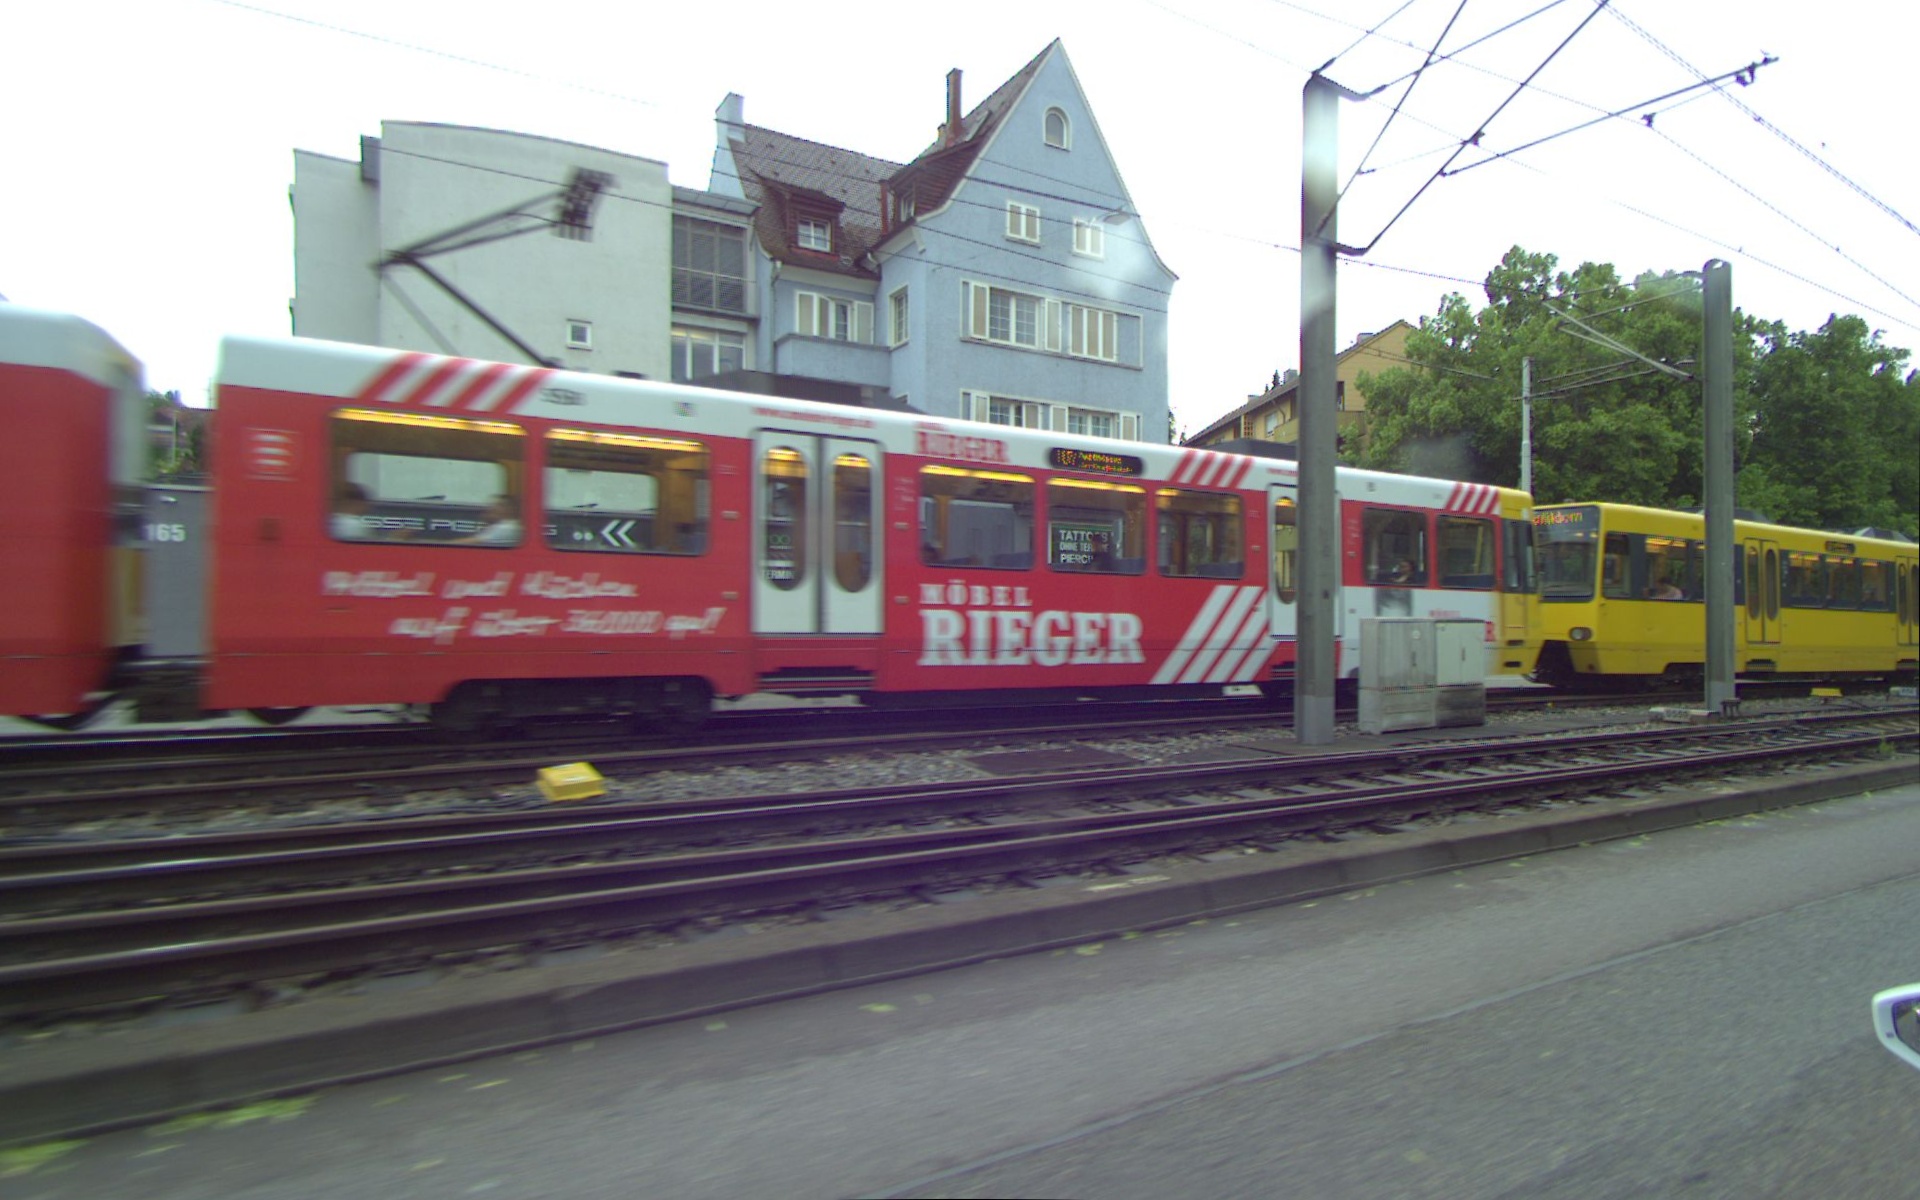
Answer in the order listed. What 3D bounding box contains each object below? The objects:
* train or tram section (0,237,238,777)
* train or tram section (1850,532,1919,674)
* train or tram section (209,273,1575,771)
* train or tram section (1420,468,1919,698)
[{"bbox_3d":[-14.730,-0.807,4.469,18.387,3.861,2.954,1,0,-29],"label":"train or tram section"},{"bbox_3d":[34.521,0.246,32.080,19.282,3.861,2.954,1,0,-29],"label":"train or tram section"},{"bbox_3d":[1.530,-0.445,13.580,18.387,3.861,2.954,1,0,-29],"label":"train or tram section"},{"bbox_3d":[17.852,-0.124,22.742,18.865,3.861,2.954,1,0,-29],"label":"train or tram section"}]
